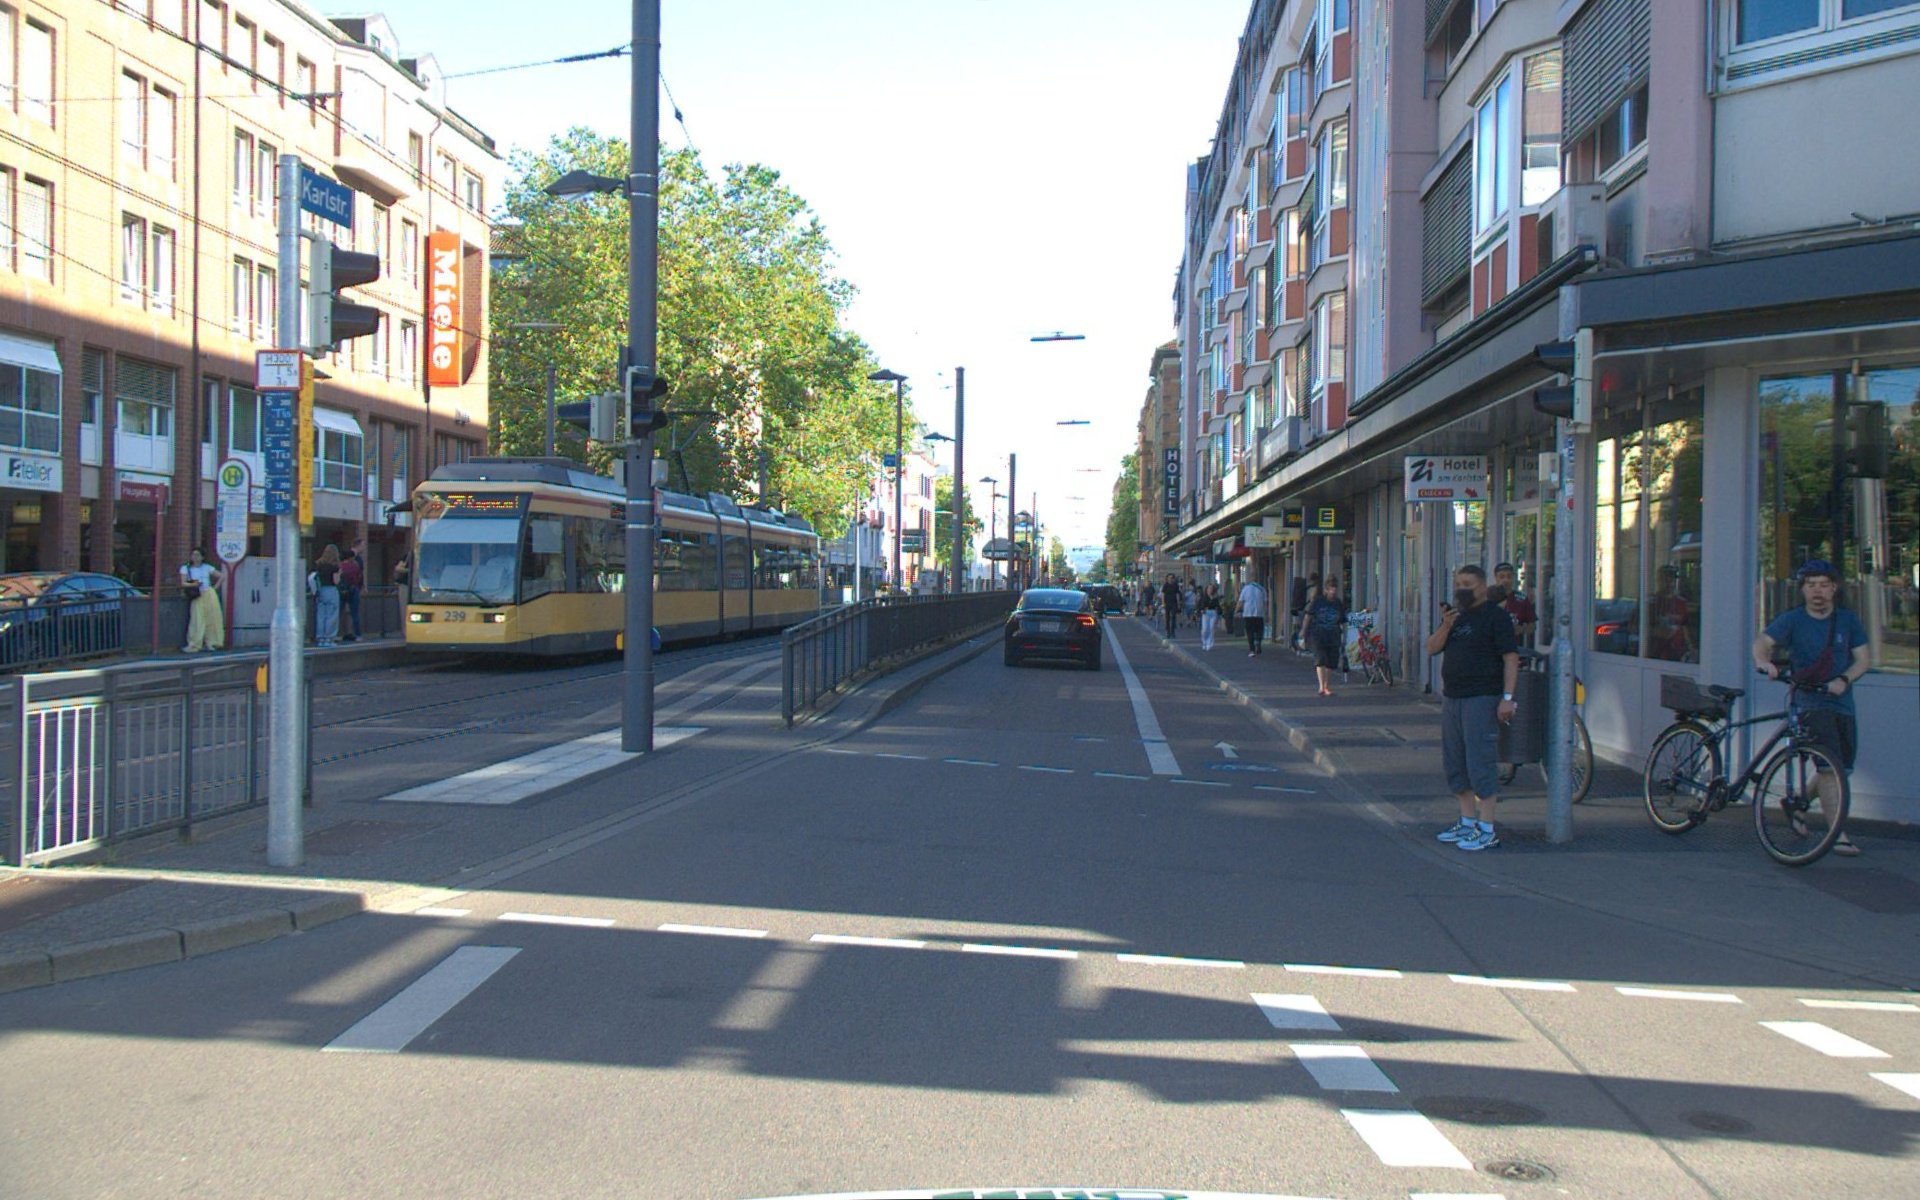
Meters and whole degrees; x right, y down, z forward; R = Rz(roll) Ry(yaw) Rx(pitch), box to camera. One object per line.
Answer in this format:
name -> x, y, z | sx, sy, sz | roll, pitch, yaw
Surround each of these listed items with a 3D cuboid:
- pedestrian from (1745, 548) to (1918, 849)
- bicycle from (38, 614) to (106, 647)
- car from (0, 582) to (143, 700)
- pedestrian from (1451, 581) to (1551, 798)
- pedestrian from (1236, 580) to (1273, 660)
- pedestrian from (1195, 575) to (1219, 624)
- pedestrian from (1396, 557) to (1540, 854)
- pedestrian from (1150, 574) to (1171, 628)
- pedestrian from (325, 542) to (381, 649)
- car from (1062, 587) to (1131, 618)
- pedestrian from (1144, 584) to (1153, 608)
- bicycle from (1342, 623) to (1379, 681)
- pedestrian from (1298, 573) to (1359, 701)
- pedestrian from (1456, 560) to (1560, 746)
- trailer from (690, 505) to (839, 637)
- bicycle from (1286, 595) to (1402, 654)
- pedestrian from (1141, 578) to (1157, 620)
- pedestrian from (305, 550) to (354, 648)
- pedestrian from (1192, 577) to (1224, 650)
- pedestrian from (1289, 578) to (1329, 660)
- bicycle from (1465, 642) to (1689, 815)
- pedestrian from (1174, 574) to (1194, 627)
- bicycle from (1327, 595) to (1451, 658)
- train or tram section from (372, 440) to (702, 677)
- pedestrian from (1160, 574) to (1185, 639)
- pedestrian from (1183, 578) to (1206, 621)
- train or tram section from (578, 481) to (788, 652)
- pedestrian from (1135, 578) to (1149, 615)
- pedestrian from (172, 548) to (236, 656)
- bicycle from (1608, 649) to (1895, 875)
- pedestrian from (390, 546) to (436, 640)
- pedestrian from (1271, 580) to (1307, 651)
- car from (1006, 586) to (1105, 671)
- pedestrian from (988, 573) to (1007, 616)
pedestrian -> 5.458, 0.580, 10.404 | 0.897, 1.785, 0.838 | 1, 0, 26
bicycle -> -25.513, 0.879, 47.544 | 1.675, 0.916, 0.521 | 1, 0, 3
car -> -13.664, 0.550, 23.803 | 1.779, 1.571, 3.793 | -1, 0, 2
pedestrian -> 4.074, 0.659, 12.467 | 0.464, 1.590, 0.542 | 1, 0, -18
pedestrian -> 6.384, 0.429, 35.866 | 0.682, 1.707, 0.750 | 1, 0, 5
pedestrian -> 9.291, -0.022, 62.189 | 0.824, 1.787, 0.788 | 1, 0, 5
pedestrian -> 3.242, 0.644, 10.615 | 0.613, 1.813, 0.917 | 1, 0, 0
pedestrian -> 7.291, 0.019, 60.123 | 0.682, 1.929, 0.750 | 1, 0, 5
pedestrian -> -10.141, -0.082, 27.627 | 0.571, 1.751, 0.638 | 1, 0, 19
car -> 7.958, 0.138, 96.271 | 3.634, 1.694, 1.737 | 1, 0, -14
pedestrian -> 14.976, -0.331, 131.574 | 0.682, 1.911, 0.750 | 1, 0, 5
bicycle -> 6.376, 0.816, 26.378 | 0.406, 0.871, 1.238 | 1, 0, 6
pedestrian -> 5.039, 0.493, 22.643 | 0.682, 1.707, 0.750 | 1, 0, 5
pedestrian -> 5.174, 0.491, 15.646 | 0.674, 1.718, 0.670 | 1, 0, -10
trailer -> -5.733, -0.835, 50.301 | 2.656, 3.608, 9.364 | 1, 0, 4
bicycle -> 8.458, 0.533, 36.489 | 2.378, 1.238, 0.829 | 1, 0, 2
pedestrian -> 8.768, -0.067, 76.844 | 0.682, 1.929, 0.750 | 1, 0, 5
pedestrian -> -10.208, -0.013, 26.806 | 0.572, 1.557, 0.636 | 1, 0, -7
pedestrian -> 5.906, 0.310, 39.481 | 0.682, 1.707, 0.750 | 1, 0, 5
pedestrian -> 7.377, 0.391, 35.006 | 0.731, 1.707, 0.699 | 1, 0, 5
bicycle -> 4.610, 0.919, 12.525 | 0.480, 1.121, 2.117 | 1, 0, -13
pedestrian -> 8.331, 0.008, 61.616 | 0.682, 1.929, 0.750 | 1, 0, 5
bicycle -> 8.963, 0.544, 34.599 | 2.378, 1.238, 0.796 | 1, 0, 2
train or tram section -> -7.298, -0.674, 30.474 | 2.671, 3.604, 10.092 | 1, 0, 5
pedestrian -> 6.465, 0.194, 50.410 | 0.682, 1.929, 0.750 | 1, 0, 5
pedestrian -> 8.995, -0.011, 63.519 | 0.824, 1.635, 0.788 | 1, 0, 5
train or tram section -> -6.480, -0.760, 40.570 | 2.656, 3.608, 10.174 | 1, 0, 4
pedestrian -> 9.705, -0.183, 88.164 | 0.682, 1.929, 0.750 | 1, 0, 5
pedestrian -> -11.366, 0.027, 24.864 | 0.622, 1.591, 0.586 | 1, 0, 17
bicycle -> 4.827, 0.940, 10.255 | 0.480, 1.181, 1.967 | 1, 0, -13
pedestrian -> -10.356, -0.126, 31.330 | 0.622, 1.751, 0.586 | 1, 0, 4
pedestrian -> 7.928, 0.368, 39.854 | 0.722, 1.681, 0.719 | 1, 0, 2
car -> 1.826, 0.504, 32.026 | 1.753, 1.476, 3.941 | 2, 0, 3
pedestrian -> 1.584, -0.232, 69.181 | 0.741, 1.800, 0.699 | 1, 0, 3
